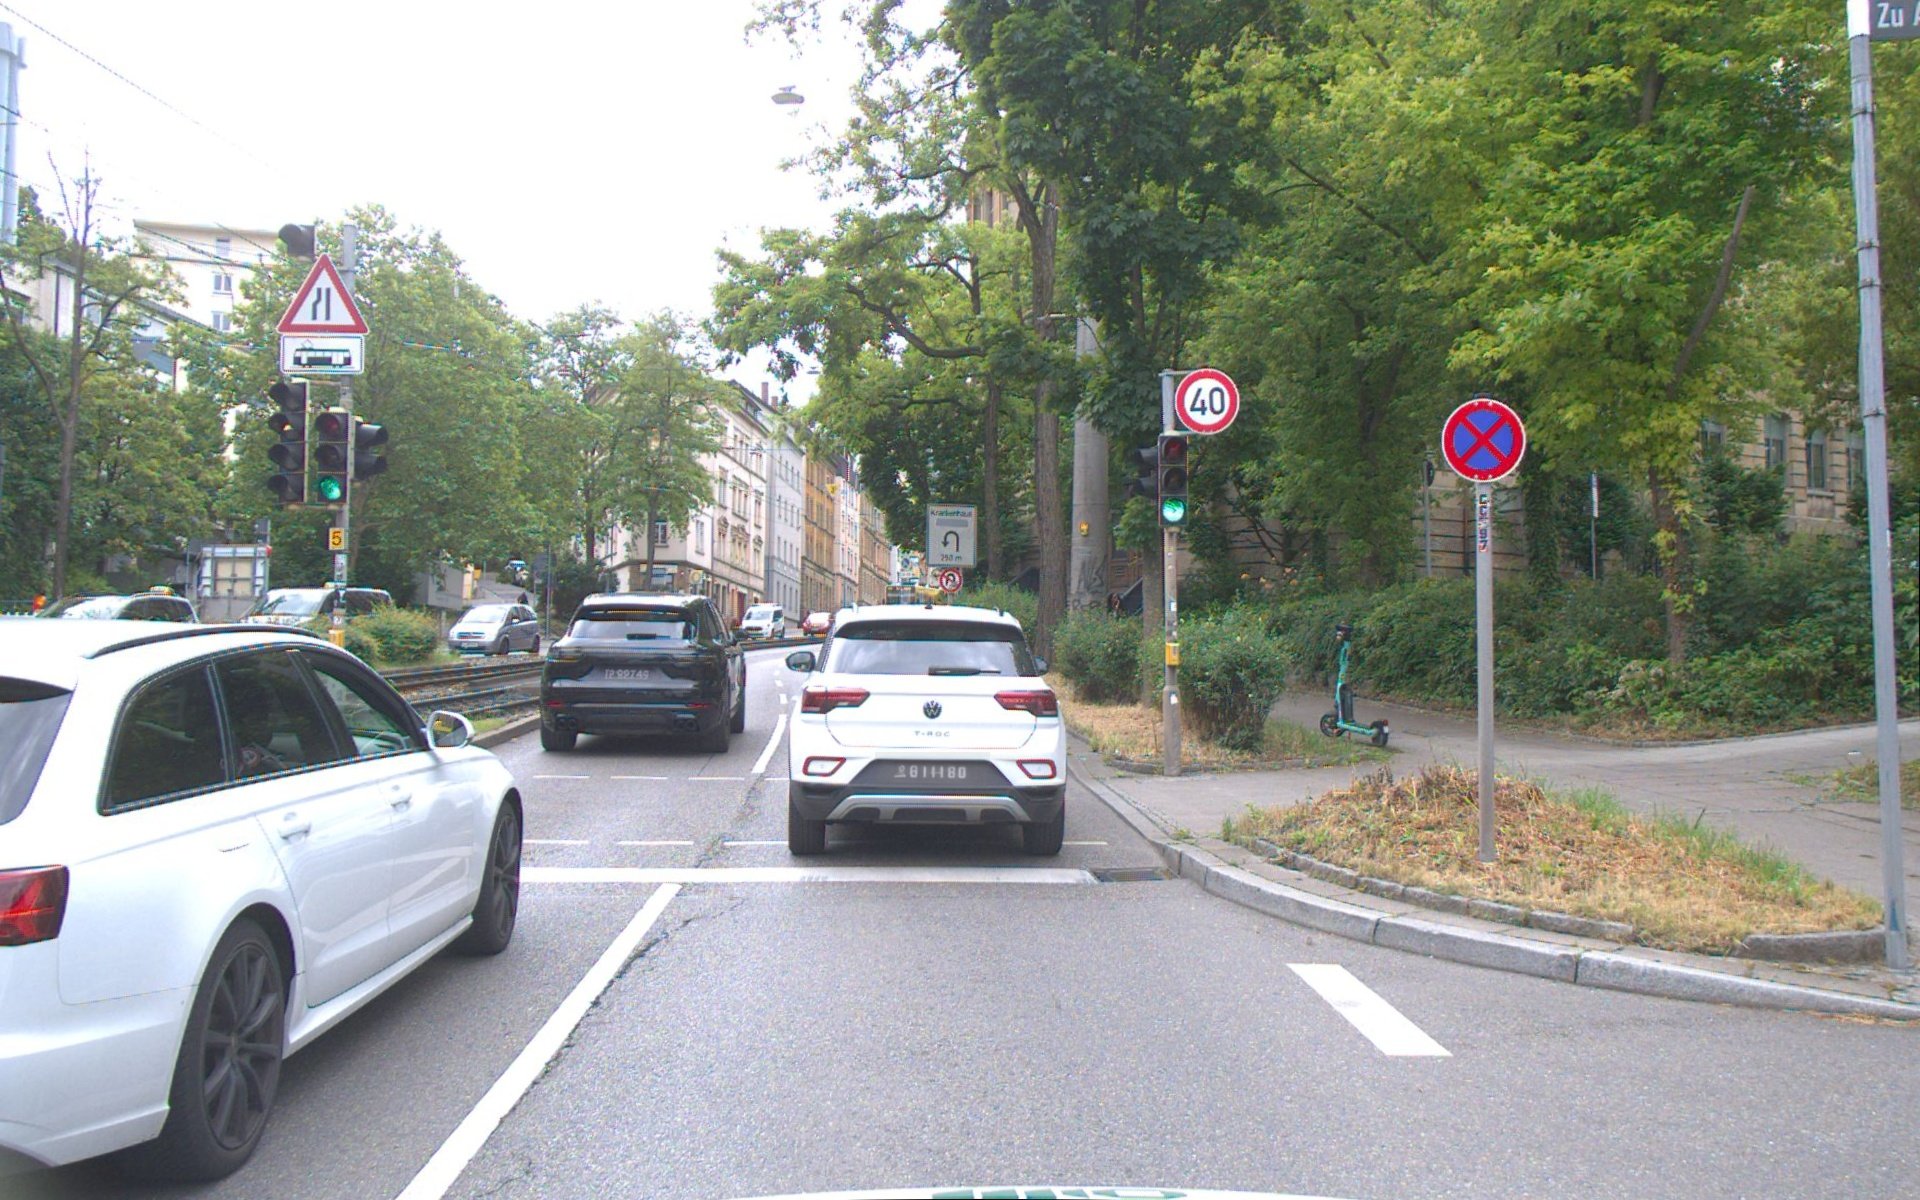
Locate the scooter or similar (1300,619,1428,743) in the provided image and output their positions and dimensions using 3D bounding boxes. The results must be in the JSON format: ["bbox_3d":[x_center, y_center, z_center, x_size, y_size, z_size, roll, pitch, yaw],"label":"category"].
[{"bbox_3d":[4.184,0.812,17.242,0.620,1.231,1.551,0,-1,-16],"label":"scooter or similar"}]

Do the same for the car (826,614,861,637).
[{"bbox_3d":[-8.067,1.742,115.083,1.952,1.579,4.001,0,-1,3],"label":"car"}]

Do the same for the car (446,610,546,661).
[{"bbox_3d":[-13.763,1.027,49.247,1.624,1.468,3.742,0,0,6],"label":"car"}]

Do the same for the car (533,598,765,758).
[{"bbox_3d":[-3.383,0.803,18.811,1.997,1.599,4.355,0,-1,-3],"label":"car"}]

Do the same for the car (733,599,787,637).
[{"bbox_3d":[-10.830,0.969,89.754,1.906,1.980,5.005,0,0,5],"label":"car"}]

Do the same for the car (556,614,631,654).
[{"bbox_3d":[-13.646,1.237,61.747,1.729,1.432,4.084,0,0,3],"label":"car"}]

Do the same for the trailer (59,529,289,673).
[{"bbox_3d":[-17.920,0.044,38.101,1.976,3.025,5.593,2,-1,7],"label":"trailer"}]

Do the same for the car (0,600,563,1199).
[{"bbox_3d":[-2.781,0.759,5.468,1.840,1.480,4.616,0,-1,0],"label":"car"}]

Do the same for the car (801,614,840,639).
[{"bbox_3d":[-9.036,1.690,107.194,1.952,1.579,4.001,0,-1,3],"label":"car"}]

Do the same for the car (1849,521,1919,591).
[{"bbox_3d":[30.653,-1.440,51.891,5.137,1.967,2.160,-3,-2,-26],"label":"car"}]

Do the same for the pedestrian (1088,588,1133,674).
[{"bbox_3d":[3.051,0.628,33.616,0.757,1.733,0.784,0,-1,-7],"label":"pedestrian"}]

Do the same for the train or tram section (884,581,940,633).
[{"bbox_3d":[-3.689,0.623,131.532,2.822,3.791,14.862,2,-1,4],"label":"train or tram section"}]

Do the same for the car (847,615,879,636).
[{"bbox_3d":[-7.255,1.894,124.116,1.952,1.579,4.001,0,-1,3],"label":"car"}]

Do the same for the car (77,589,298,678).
[{"bbox_3d":[-15.199,0.635,32.864,1.951,1.633,4.622,0,0,5],"label":"car"}]

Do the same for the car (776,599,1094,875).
[{"bbox_3d":[-0.294,0.808,11.582,1.842,1.582,3.996,0,-1,-5],"label":"car"}]

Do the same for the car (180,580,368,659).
[{"bbox_3d":[-15.143,0.421,36.817,1.951,1.633,4.612,0,0,5],"label":"car"}]
